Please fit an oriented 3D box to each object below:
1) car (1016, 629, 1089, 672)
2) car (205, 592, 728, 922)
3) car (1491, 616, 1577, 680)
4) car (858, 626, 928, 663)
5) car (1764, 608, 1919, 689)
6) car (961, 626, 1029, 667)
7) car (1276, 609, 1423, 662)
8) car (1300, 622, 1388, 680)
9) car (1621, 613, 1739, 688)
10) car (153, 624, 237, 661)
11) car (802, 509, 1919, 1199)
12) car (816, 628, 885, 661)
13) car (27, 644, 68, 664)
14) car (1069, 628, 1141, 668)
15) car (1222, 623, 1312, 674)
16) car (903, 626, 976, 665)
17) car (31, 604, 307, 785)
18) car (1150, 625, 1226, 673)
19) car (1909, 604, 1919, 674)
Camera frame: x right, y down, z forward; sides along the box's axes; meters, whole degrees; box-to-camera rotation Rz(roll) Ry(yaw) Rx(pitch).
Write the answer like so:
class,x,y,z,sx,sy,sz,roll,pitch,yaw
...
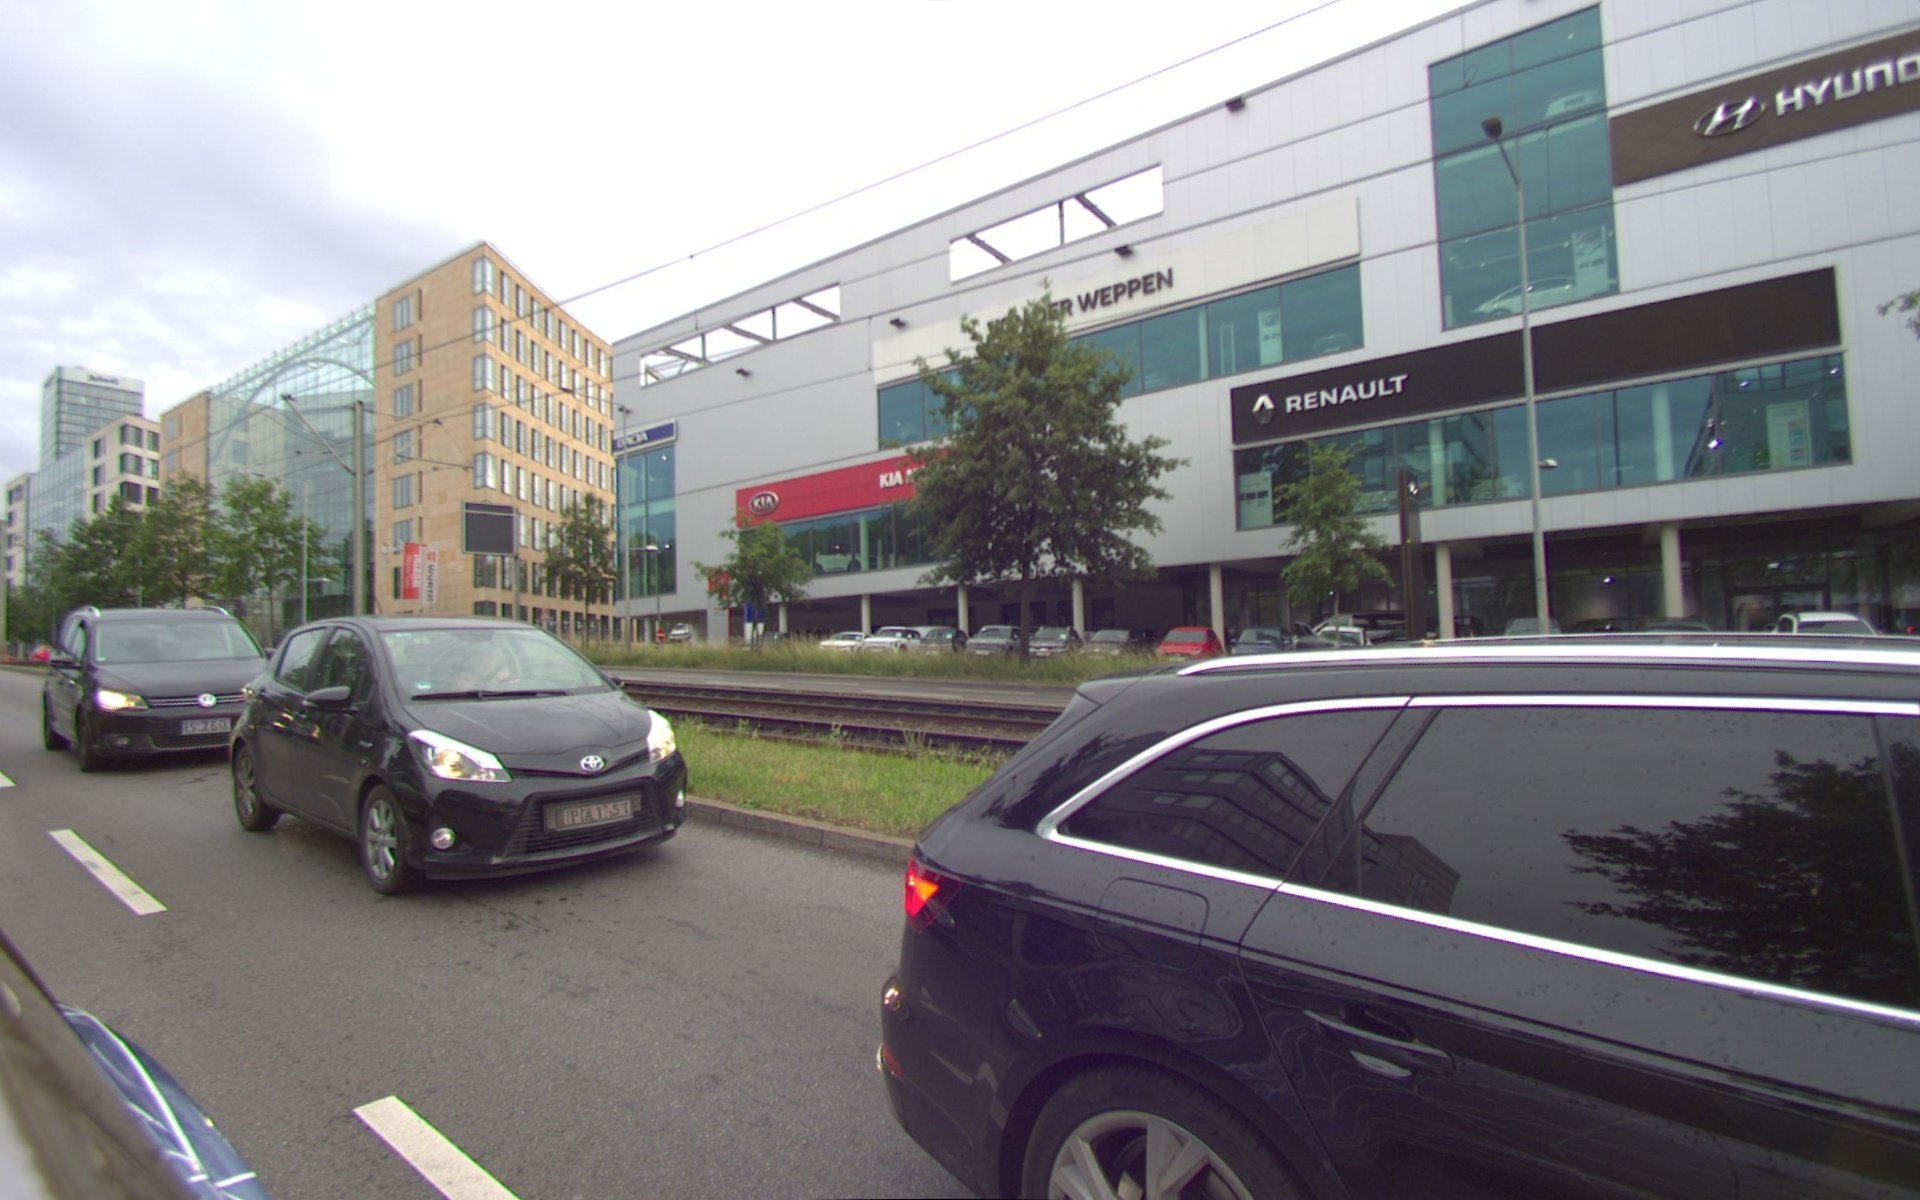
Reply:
class,x,y,z,sx,sy,sz,roll,pitch,yaw
car,3.503,1.845,37.784,1.688,1.362,3.498,-2,1,24
car,-3.387,0.779,6.640,3.823,1.544,1.683,-1,-1,40
car,15.862,1.278,27.971,1.925,1.470,3.981,-1,1,30
car,-2.789,1.877,42.963,1.685,1.304,3.643,-2,1,18
car,20.600,1.055,23.809,1.992,1.562,4.331,-1,1,30
car,1.412,1.800,39.702,1.686,1.362,3.503,-2,1,20
car,13.962,1.260,36.498,4.488,1.796,1.997,-1,-1,5
car,11.955,1.522,31.346,1.914,1.470,4.005,-1,1,30
car,18.062,1.202,25.585,1.992,1.562,4.331,-1,1,30
car,-37.628,2.084,49.737,4.832,1.733,1.975,-1,-4,37
car,1.915,0.637,1.479,4.511,1.478,1.762,-2,-2,41
car,-4.780,1.947,44.639,1.685,1.196,3.643,-2,1,18
car,-70.405,4.166,78.078,4.096,1.524,1.569,-1,-4,38
car,5.251,1.693,36.324,1.688,1.190,3.498,-2,1,24
car,10.081,1.547,33.042,1.914,1.362,4.005,-1,1,30
car,-0.782,1.821,41.032,1.688,1.362,3.499,-2,1,23
car,-8.941,0.900,11.290,4.317,1.619,1.762,-2,0,43
car,7.818,1.622,34.446,1.789,1.362,3.903,-2,1,24
car,22.838,0.954,22.188,1.992,1.627,4.331,-1,1,30
